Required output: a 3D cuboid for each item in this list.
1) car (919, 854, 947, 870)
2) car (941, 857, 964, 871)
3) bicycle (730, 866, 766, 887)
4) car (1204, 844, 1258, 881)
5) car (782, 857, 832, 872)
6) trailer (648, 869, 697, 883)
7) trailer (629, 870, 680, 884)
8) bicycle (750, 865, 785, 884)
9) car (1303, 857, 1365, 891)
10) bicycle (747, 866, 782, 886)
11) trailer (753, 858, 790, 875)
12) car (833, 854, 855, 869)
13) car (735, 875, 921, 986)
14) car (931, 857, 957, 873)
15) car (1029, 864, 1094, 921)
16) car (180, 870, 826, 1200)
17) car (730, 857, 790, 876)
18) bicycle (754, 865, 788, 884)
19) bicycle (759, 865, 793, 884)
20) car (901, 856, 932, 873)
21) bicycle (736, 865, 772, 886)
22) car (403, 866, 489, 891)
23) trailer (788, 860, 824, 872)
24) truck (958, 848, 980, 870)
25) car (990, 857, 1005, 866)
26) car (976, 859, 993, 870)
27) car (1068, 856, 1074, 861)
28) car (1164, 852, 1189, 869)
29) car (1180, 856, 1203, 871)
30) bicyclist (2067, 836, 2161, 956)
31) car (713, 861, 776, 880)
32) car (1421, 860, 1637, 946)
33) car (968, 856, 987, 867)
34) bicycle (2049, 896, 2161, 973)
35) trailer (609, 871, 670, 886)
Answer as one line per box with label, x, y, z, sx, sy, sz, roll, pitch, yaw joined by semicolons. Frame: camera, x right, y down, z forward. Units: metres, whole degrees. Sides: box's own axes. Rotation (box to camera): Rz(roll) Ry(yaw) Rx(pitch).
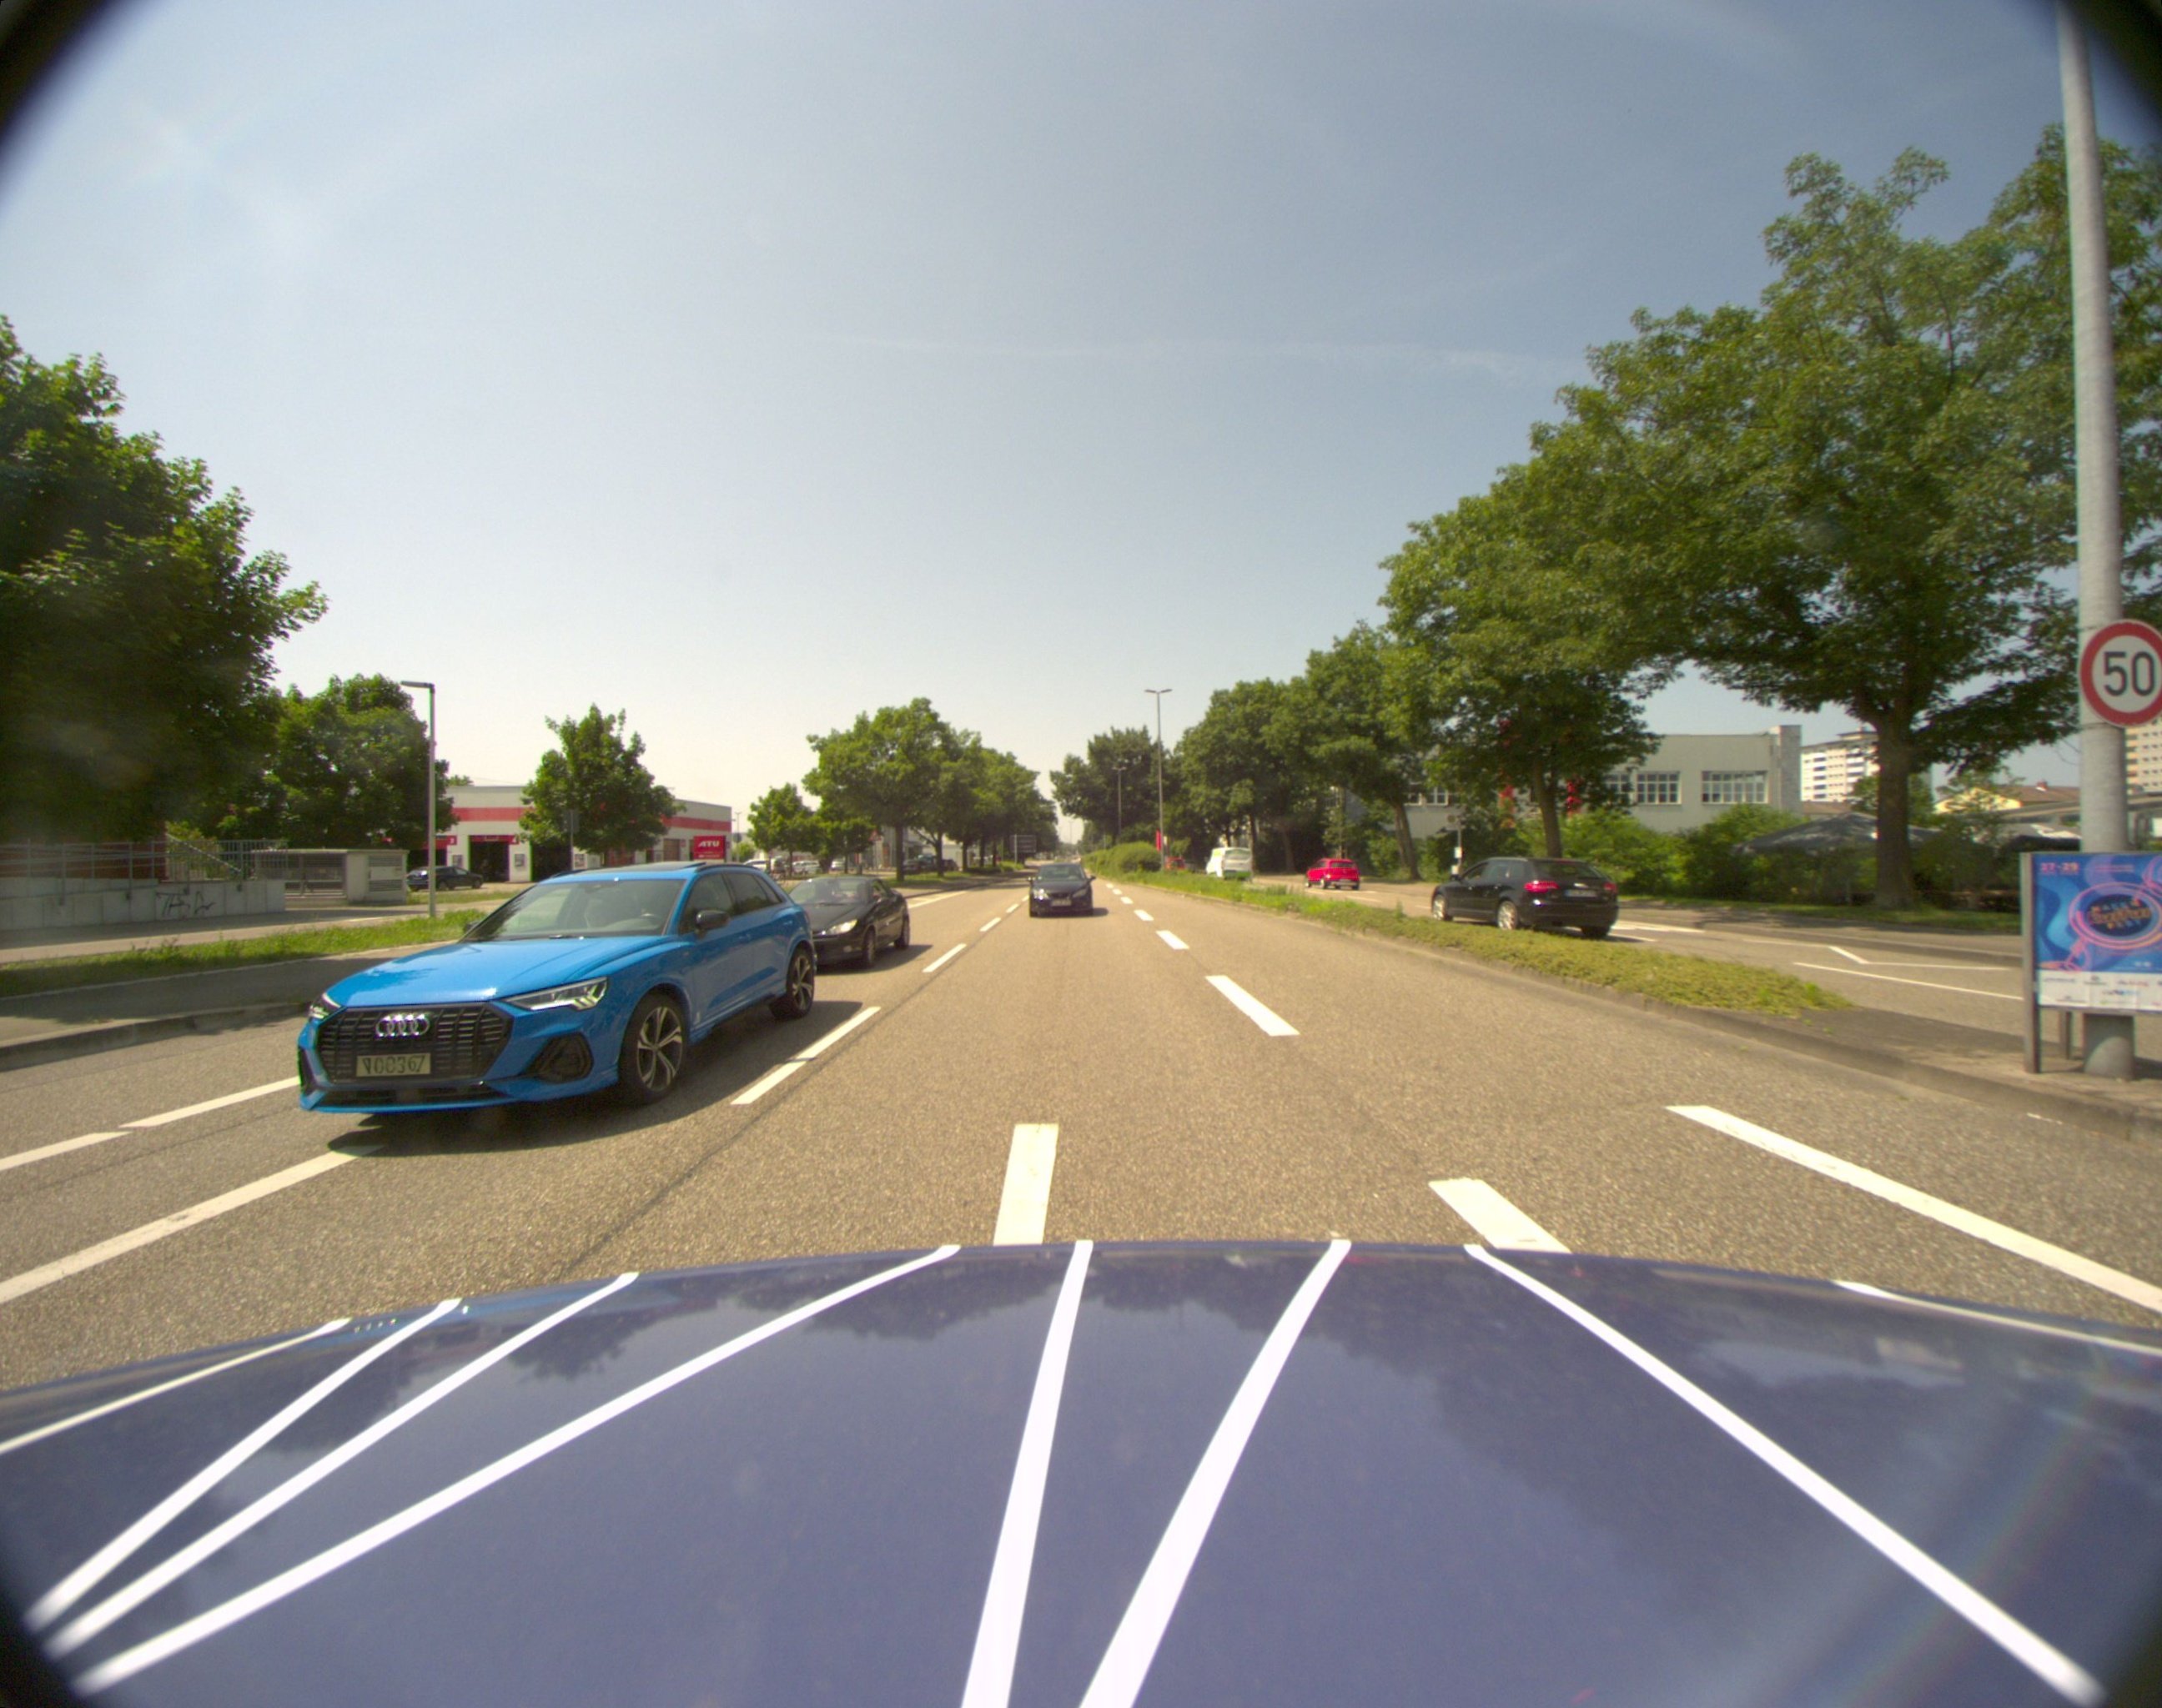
car;-13.423;0.708;68.924;1.719;1.458;4.000;0;0;1
car;-13.555;1.032;80.272;1.719;1.504;4.000;0;0;1
bicycle;-18.550;1.232;42.346;1.784;1.117;0.514;0;0;-6
car;8.447;0.436;43.243;1.999;1.934;4.908;2;0;-1
car;-25.062;0.953;69.598;3.998;1.293;1.689;0;0;-3
trailer;-24.057;1.282;44.774;2.137;0.757;1.394;-1;0;1
trailer;-24.086;1.310;42.975;2.137;0.757;1.267;-1;0;1
bicycle;-18.288;1.200;44.358;1.784;1.117;0.514;0;0;-6
car;12.141;0.926;36.715;1.710;1.444;3.891;2;0;0
bicycle;-18.194;1.237;43.718;1.784;1.117;0.514;0;0;-6
trailer;-27.281;1.090;67.021;2.642;1.518;1.415;0;0;-2
car;-27.416;0.853;87.970;1.759;1.586;3.997;0;0;-7
car;-3.856;1.099;12.319;1.642;1.336;4.000;-3;0;0
car;-13.328;1.058;74.097;1.719;1.511;4.000;0;0;1
car;-0.515;1.000;21.379;1.642;1.395;4.000;0;0;-1
car;-3.731;0.986;6.146;1.842;1.586;4.400;-1;0;0
car;-25.274;0.959;59.880;3.998;1.394;1.747;0;0;-3
bicycle;-18.378;1.222;45.077;1.784;1.117;0.514;0;0;-6
bicycle;-18.413;1.213;45.908;1.784;1.117;0.514;0;0;-6
car;-13.509;0.859;62.696;1.642;1.363;4.000;0;0;1
bicycle;-18.465;1.215;42.972;1.784;1.117;0.514;0;0;-6
car;-38.161;1.446;45.815;1.717;1.364;4.145;0;0;0
trailer;-24.330;1.071;67.320;2.642;1.046;1.578;0;0;-2
truck;-13.536;0.588;92.000;1.904;2.552;4.000;0;0;2
car;-13.008;1.155;118.432;1.719;1.458;4.000;0;0;1
car;-13.264;1.469;104.890;1.719;1.458;4.000;0;0;1
car;-3.061;1.397;235.890;1.999;1.692;4.000;0;0;0
car;8.317;0.554;66.488;1.584;1.433;3.608;2;0;-1
car;11.752;0.995;80.976;1.753;1.443;4.133;2;0;0
bicyclist;14.890;0.567;10.768;0.609;1.621;0.923;0;1;0
car;-25.502;1.264;57.651;3.998;1.394;1.747;0;0;-2
car;8.305;0.831;14.562;1.683;1.331;3.999;2;0;-1
car;-13.302;0.937;97.836;1.719;1.458;4.000;0;0;1
bicycle;14.886;1.115;10.609;0.619;0.963;1.660;0;0;1
trailer;-23.926;1.330;41.259;2.467;0.757;1.449;-1;0;1
